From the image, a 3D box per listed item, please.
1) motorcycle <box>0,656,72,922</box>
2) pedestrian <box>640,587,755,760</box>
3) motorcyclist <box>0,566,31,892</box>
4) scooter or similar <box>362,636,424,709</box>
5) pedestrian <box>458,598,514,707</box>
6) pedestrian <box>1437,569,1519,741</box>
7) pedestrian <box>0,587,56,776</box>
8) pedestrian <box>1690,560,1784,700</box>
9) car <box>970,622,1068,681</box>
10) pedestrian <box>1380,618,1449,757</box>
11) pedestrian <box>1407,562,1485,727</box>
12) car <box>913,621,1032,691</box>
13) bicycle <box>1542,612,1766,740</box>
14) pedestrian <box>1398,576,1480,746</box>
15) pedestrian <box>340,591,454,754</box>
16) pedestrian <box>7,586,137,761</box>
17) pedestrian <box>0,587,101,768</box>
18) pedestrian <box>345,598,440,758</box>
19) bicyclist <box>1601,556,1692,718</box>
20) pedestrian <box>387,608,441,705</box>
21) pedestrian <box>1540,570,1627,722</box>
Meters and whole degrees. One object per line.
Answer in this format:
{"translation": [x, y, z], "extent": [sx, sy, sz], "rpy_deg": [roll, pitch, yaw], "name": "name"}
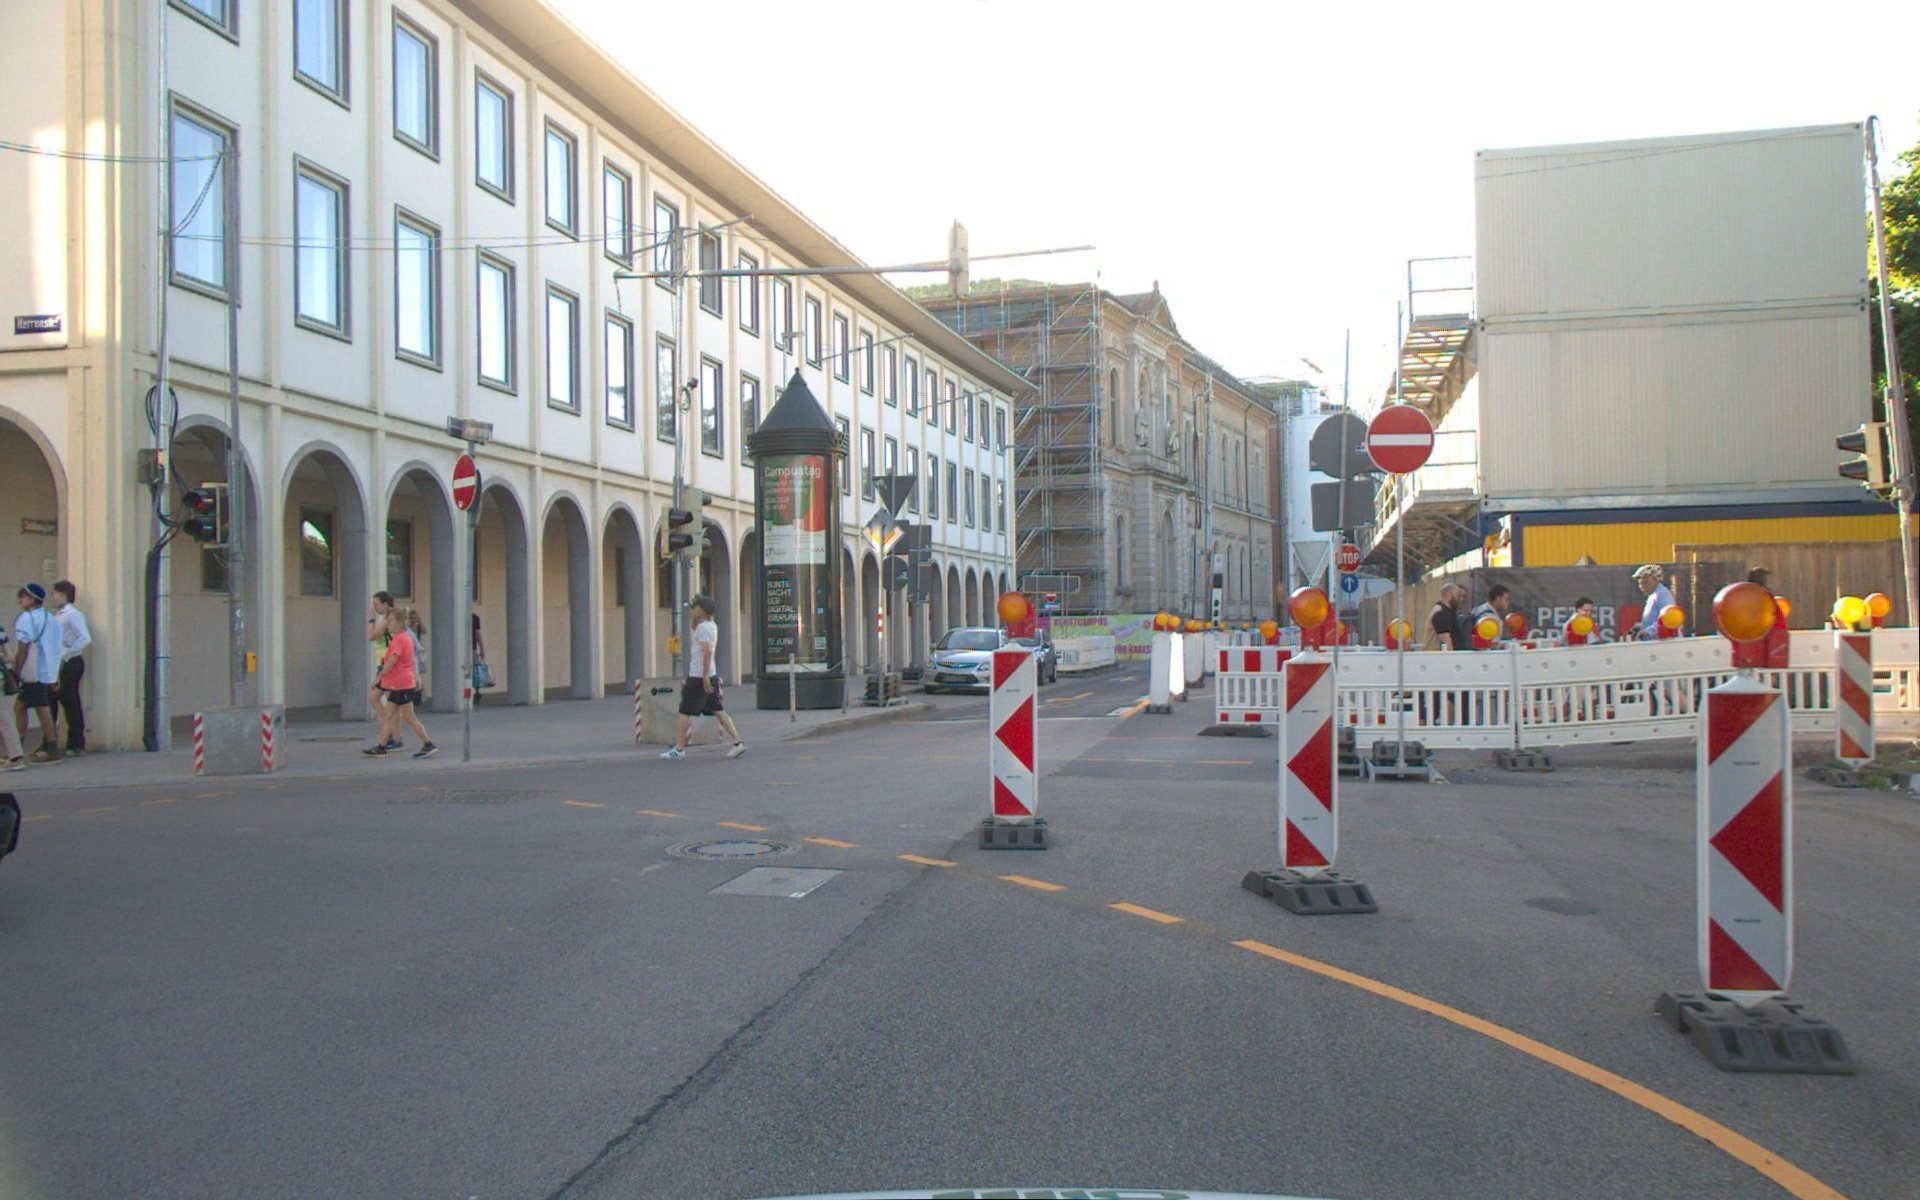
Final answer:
{"translation": [-5.475, 0.900, 8.265], "extent": [2.529, 1.204, 0.904], "rpy_deg": [-2, 0, 39], "name": "motorcycle"}
{"translation": [-2.781, 0.774, 17.598], "extent": [0.953, 1.759, 0.799], "rpy_deg": [-3, -2, 9], "name": "pedestrian"}
{"translation": [-5.375, 0.646, 8.185], "extent": [1.215, 1.587, 0.953], "rpy_deg": [-2, 0, 38], "name": "motorcyclist"}
{"translation": [-9.661, 1.227, 28.219], "extent": [0.605, 1.178, 0.959], "rpy_deg": [-1, 2, 8], "name": "scooter or similar"}
{"translation": [-8.335, 0.913, 29.094], "extent": [0.627, 1.872, 0.728], "rpy_deg": [-1, 2, 13], "name": "pedestrian"}
{"translation": [5.607, 0.587, 17.925], "extent": [0.721, 1.802, 0.622], "rpy_deg": [-3, -1, 13], "name": "pedestrian"}
{"translation": [-9.913, 0.809, 16.604], "extent": [1.216, 1.833, 0.717], "rpy_deg": [-1, 2, 9], "name": "pedestrian"}
{"translation": [8.611, 0.331, 18.354], "extent": [0.752, 1.488, 0.666], "rpy_deg": [-3, -1, 13], "name": "pedestrian"}
{"translation": [1.653, 1.391, 44.581], "extent": [1.883, 1.492, 4.002], "rpy_deg": [0, -2, 13], "name": "car"}
{"translation": [4.470, 0.851, 16.298], "extent": [0.605, 1.322, 0.494], "rpy_deg": [1, 0, 12], "name": "pedestrian"}
{"translation": [5.474, 0.494, 18.655], "extent": [0.721, 1.802, 0.724], "rpy_deg": [-3, -1, 13], "name": "pedestrian"}
{"translation": [0.342, 1.292, 38.071], "extent": [1.883, 1.492, 4.002], "rpy_deg": [0, -2, 13], "name": "car"}
{"translation": [6.778, 0.745, 16.232], "extent": [1.950, 1.222, 0.477], "rpy_deg": [-1, -1, 12], "name": "bicycle"}
{"translation": [5.067, 0.640, 17.535], "extent": [0.721, 1.746, 0.622], "rpy_deg": [-3, -1, 13], "name": "pedestrian"}
{"translation": [-6.191, 0.782, 18.223], "extent": [0.944, 1.739, 0.676], "rpy_deg": [-1, 2, 9], "name": "pedestrian"}
{"translation": [-9.527, 0.779, 17.763], "extent": [0.918, 1.808, 0.712], "rpy_deg": [-1, 2, 9], "name": "pedestrian"}
{"translation": [-9.591, 0.790, 17.139], "extent": [0.918, 1.808, 0.712], "rpy_deg": [-1, 2, 9], "name": "pedestrian"}
{"translation": [-6.034, 0.822, 17.616], "extent": [0.709, 1.652, 0.620], "rpy_deg": [-1, 2, 9], "name": "pedestrian"}
{"translation": [6.728, 0.364, 16.229], "extent": [0.687, 1.542, 0.687], "rpy_deg": [-1, -1, 12], "name": "bicyclist"}
{"translation": [-9.583, 0.984, 29.060], "extent": [0.605, 1.652, 0.728], "rpy_deg": [-1, 2, 8], "name": "pedestrian"}
{"translation": [6.986, 0.512, 18.555], "extent": [0.752, 1.647, 0.666], "rpy_deg": [-3, -1, 13], "name": "pedestrian"}
